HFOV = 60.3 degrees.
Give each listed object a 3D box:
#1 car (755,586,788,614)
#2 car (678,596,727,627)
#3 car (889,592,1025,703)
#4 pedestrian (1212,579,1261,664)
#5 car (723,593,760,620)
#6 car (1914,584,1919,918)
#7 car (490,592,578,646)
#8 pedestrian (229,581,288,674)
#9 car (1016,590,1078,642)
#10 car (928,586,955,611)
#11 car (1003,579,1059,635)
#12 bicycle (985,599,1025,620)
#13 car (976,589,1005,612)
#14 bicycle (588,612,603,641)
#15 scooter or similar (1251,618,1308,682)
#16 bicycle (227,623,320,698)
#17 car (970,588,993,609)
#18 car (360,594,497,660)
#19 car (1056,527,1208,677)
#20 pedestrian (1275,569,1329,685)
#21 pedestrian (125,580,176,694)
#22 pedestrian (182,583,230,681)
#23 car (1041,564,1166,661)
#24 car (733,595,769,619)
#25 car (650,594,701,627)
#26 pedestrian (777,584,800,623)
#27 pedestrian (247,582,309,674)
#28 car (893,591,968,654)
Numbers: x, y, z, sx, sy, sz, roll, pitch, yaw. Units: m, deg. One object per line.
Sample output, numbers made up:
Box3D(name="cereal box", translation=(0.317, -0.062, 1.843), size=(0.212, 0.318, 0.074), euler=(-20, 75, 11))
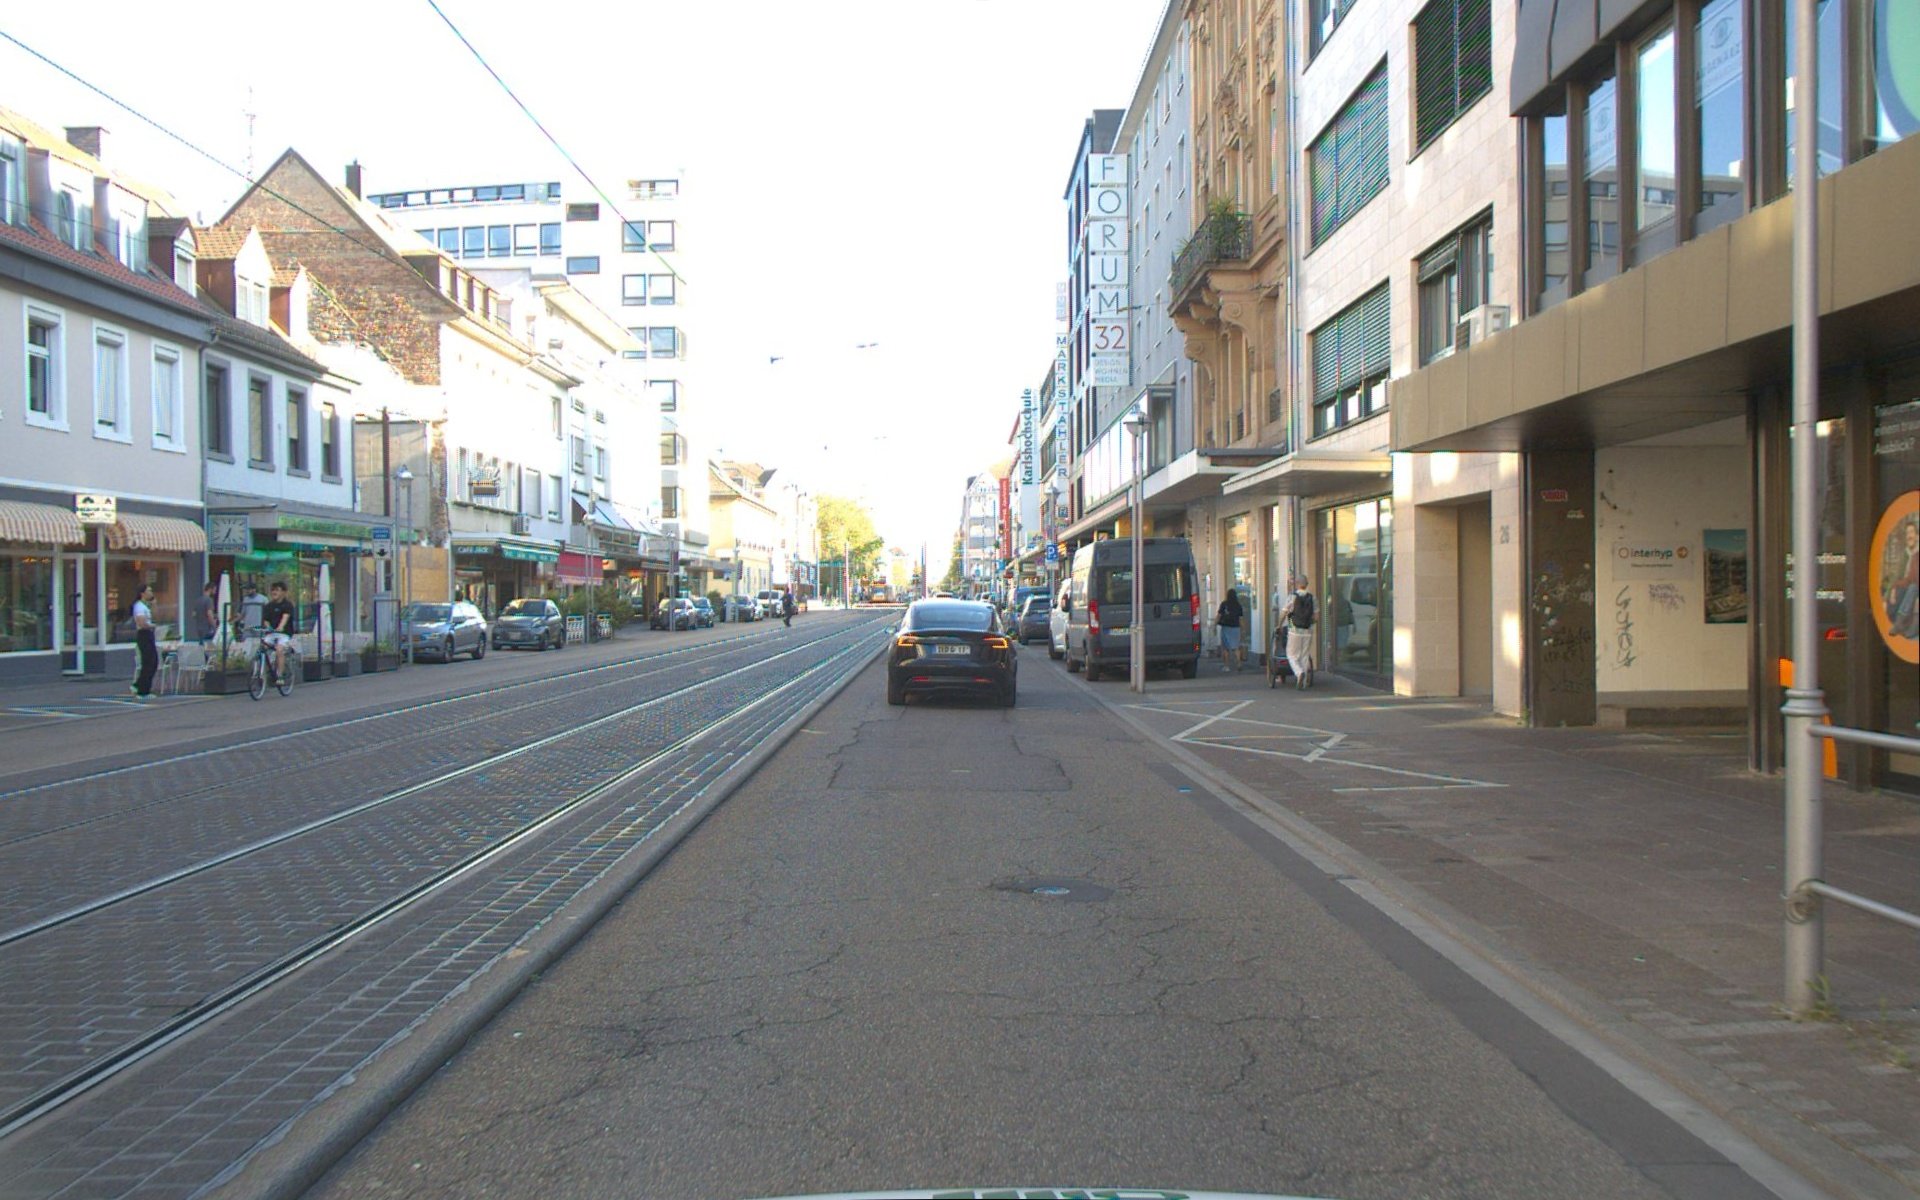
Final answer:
Box3D(name="car", translation=(-13.937, -0.014, 122.376), size=(1.968, 1.995, 4.724), euler=(-1, 0, -1))
Box3D(name="car", translation=(-13.339, 0.585, 85.822), size=(1.733, 1.535, 3.862), euler=(-1, 0, 3))
Box3D(name="car", translation=(-0.041, 0.627, 24.365), size=(1.831, 1.452, 4.364), euler=(0, 1, 0))
Box3D(name="pedestrian", translation=(5.325, 0.407, 31.879), size=(0.753, 1.570, 0.804), euler=(-2, 0, -1))
Box3D(name="car", translation=(-13.614, 0.398, 103.080), size=(1.682, 1.599, 3.850), euler=(-1, 0, 1))
Box3D(name="car", translation=(3.473, 0.694, 2.347), size=(1.709, 1.487, 4.295), euler=(-1, 0, -1))
Box3D(name="car", translation=(-13.243, 0.560, 51.596), size=(1.641, 1.573, 3.744), euler=(1, 0, 1))
Box3D(name="pedestrian", translation=(-13.788, 0.534, 32.507), size=(0.868, 1.806, 0.688), euler=(0, 0, -2))
Box3D(name="car", translation=(2.696, 0.466, 51.820), size=(1.715, 1.525, 3.753), euler=(-1, 1, 0))
Box3D(name="car", translation=(-1.379, -0.130, 125.230), size=(2.042, 1.903, 3.753), euler=(0, 1, 0))
Box3D(name="car", translation=(2.448, 0.223, 57.954), size=(1.784, 1.903, 3.753), euler=(0, 1, 0))
Box3D(name="bicycle", translation=(2.445, 0.514, 90.028), size=(2.116, 1.116, 0.686), euler=(-1, 0, -3))
Box3D(name="car", translation=(2.153, 0.048, 118.844), size=(1.953, 1.570, 3.999), euler=(0, -1, -1))
Box3D(name="bicycle", translation=(-12.893, 0.925, 58.469), size=(0.363, 1.020, 1.596), euler=(-1, 0, -18))
Box3D(name="scooter or similar", translation=(5.086, 0.785, 26.358), size=(0.581, 0.952, 1.298), euler=(-2, 0, -2))
Box3D(name="bicycle", translation=(-11.138, 0.962, 26.896), size=(0.566, 1.135, 1.954), euler=(-1, 0, 4))
Box3D(name="car", translation=(1.870, -0.128, 147.339), size=(1.953, 1.784, 3.999), euler=(0, -1, -1))
Box3D(name="car", translation=(-13.285, 0.674, 41.657), size=(1.953, 1.558, 4.755), euler=(1, -1, -1))
Box3D(name="car", translation=(3.133, 0.010, 31.347), size=(2.127, 2.504, 5.360), euler=(-2, 0, -1))
Box3D(name="pedestrian", translation=(5.261, 0.406, 25.480), size=(0.545, 1.744, 0.954), euler=(-2, 0, -2))
Box3D(name="pedestrian", translation=(-13.096, 0.590, 26.758), size=(0.609, 1.806, 0.708), euler=(0, 0, -39))
Box3D(name="pedestrian", translation=(-14.428, 0.602, 31.653), size=(0.643, 1.855, 0.642), euler=(0, 0, -6))
Box3D(name="car", translation=(3.215, 0.253, 37.985), size=(2.116, 1.960, 4.614), euler=(-4, 1, -3))
Box3D(name="car", translation=(-13.733, 0.419, 108.999), size=(1.733, 1.535, 3.972), euler=(-1, 0, 1))
Box3D(name="car", translation=(-13.673, 0.485, 79.684), size=(1.733, 1.535, 3.864), euler=(-1, 0, 1))
Box3D(name="pedestrian", translation=(-8.192, 0.167, 79.031), size=(0.757, 1.881, 0.827), euler=(-1, 0, 29))
Box3D(name="pedestrian", translation=(-11.131, 0.451, 27.011), size=(0.611, 1.469, 0.874), euler=(0, -1, 4))
Box3D(name="car", translation=(-0.740, 0.531, 40.270), size=(1.726, 1.443, 4.353), euler=(0, 0, -2))
